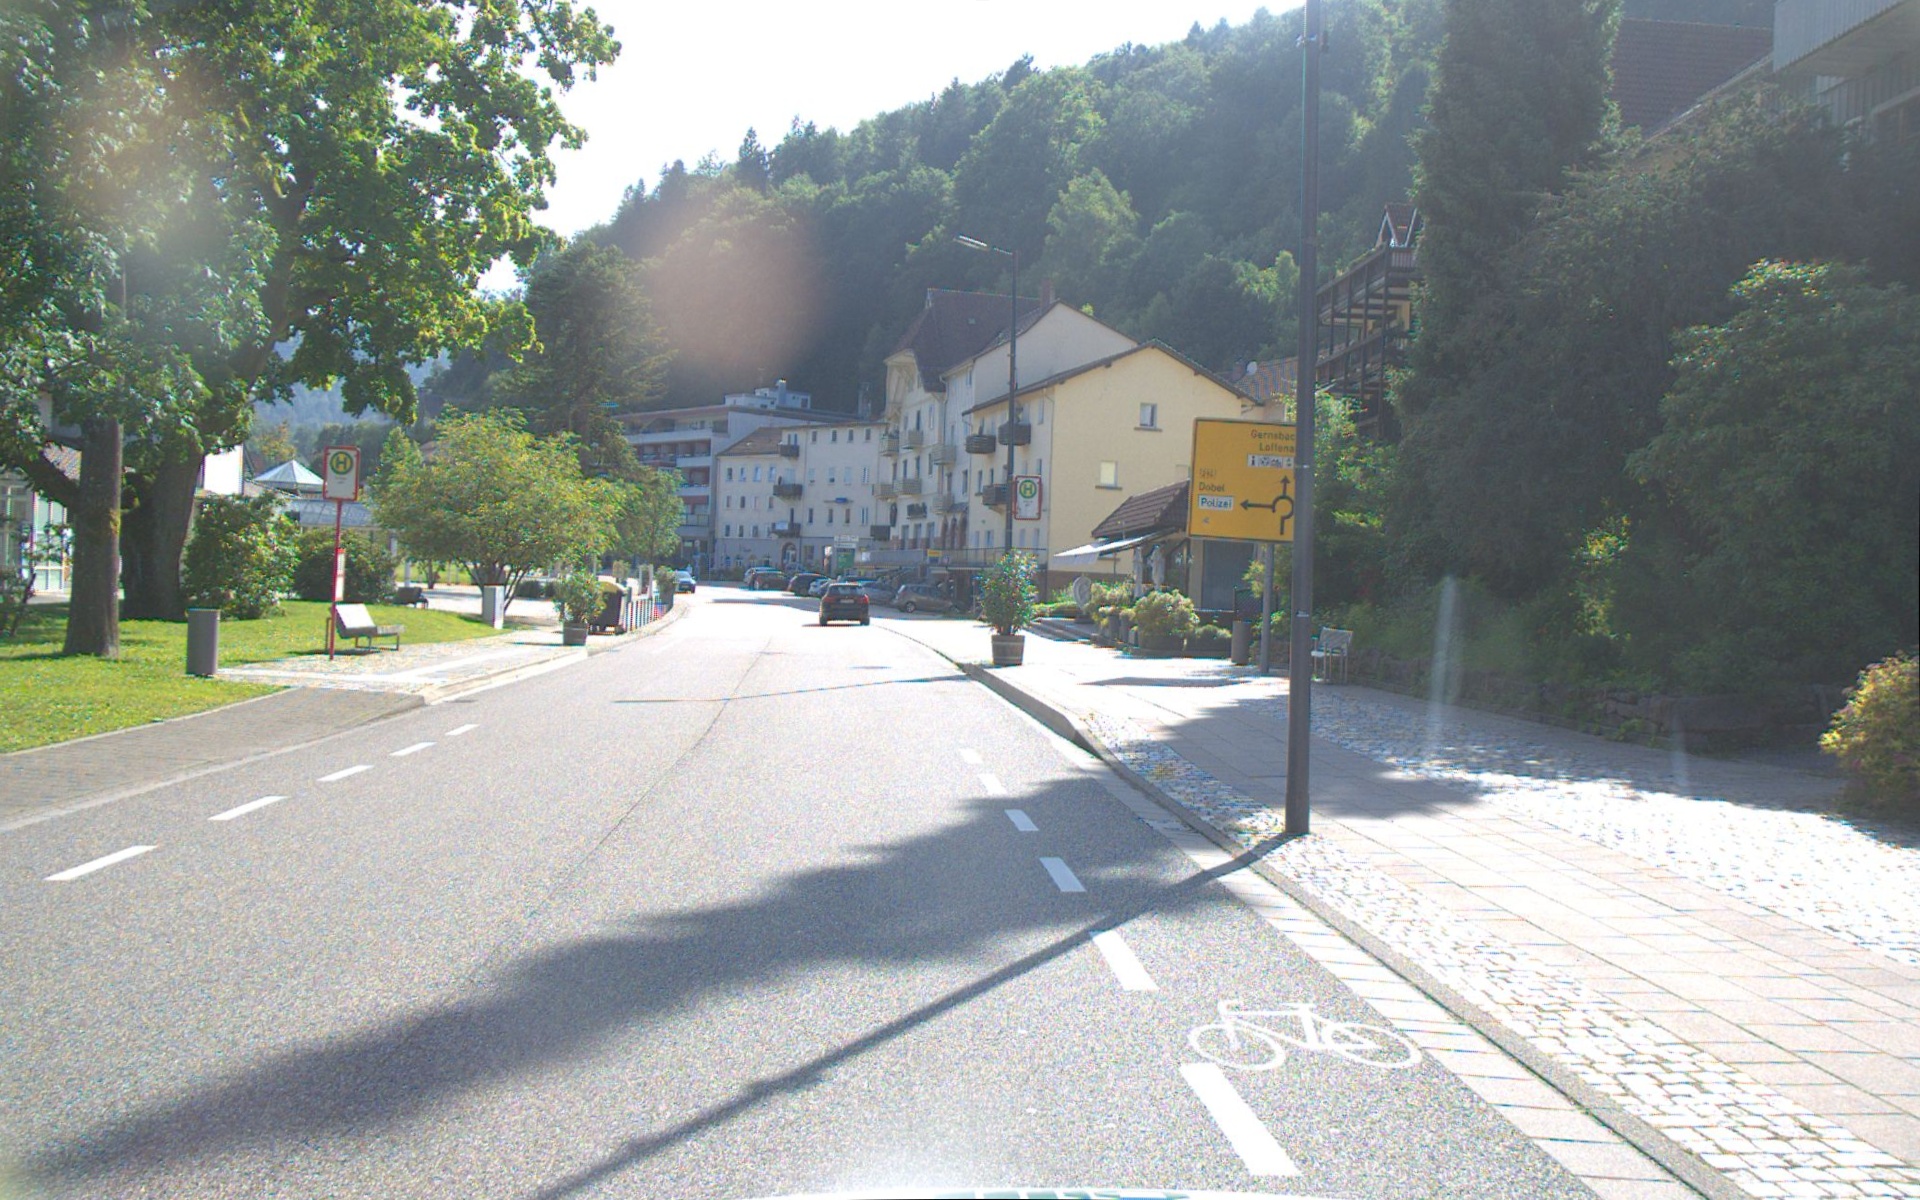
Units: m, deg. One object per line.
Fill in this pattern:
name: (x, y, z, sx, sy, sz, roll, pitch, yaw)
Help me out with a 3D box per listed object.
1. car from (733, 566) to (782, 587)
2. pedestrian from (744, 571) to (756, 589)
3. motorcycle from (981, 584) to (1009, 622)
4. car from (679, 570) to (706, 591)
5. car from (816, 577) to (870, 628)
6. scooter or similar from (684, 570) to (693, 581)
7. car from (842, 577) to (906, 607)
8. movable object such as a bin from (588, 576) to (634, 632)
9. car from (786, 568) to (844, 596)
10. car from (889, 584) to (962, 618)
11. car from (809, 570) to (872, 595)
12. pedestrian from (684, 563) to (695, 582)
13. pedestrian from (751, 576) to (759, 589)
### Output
car: (-17.250, -2.036, 141.018, 3.827, 1.640, 1.752, -1, 4, -34)
pedestrian: (-16.665, -1.587, 131.022, 0.730, 1.467, 0.624, -1, 2, -39)
motorcycle: (1.255, 0.093, 59.959, 0.684, 1.319, 2.209, -1, 1, -7)
car: (-18.901, -1.399, 116.927, 1.708, 1.488, 4.180, 0, 1, -8)
car: (-4.311, 0.059, 60.734, 1.695, 1.601, 3.748, 3, 2, -7)
scooter or similar: (-24.211, -2.166, 147.552, 0.591, 0.967, 0.468, 2, 1, -36)
car: (-5.616, -0.520, 107.729, 3.843, 1.616, 1.769, 5, 1, -14)
movable object such as a bin: (-9.759, 0.099, 46.321, 1.058, 1.452, 1.375, 4, 0, -7)
car: (-10.871, -1.319, 123.839, 4.015, 1.694, 1.767, 5, 0, -14)
car: (-1.976, 0.053, 94.259, 3.798, 1.581, 1.753, 5, 0, -17)
car: (-8.597, -1.250, 119.246, 4.280, 1.486, 1.767, 4, -1, -12)
pedestrian: (-24.127, -2.461, 147.454, 0.751, 1.621, 0.620, 2, 1, -36)
pedestrian: (-16.288, -1.383, 131.433, 0.414, 1.019, 0.524, 0, 2, -38)
